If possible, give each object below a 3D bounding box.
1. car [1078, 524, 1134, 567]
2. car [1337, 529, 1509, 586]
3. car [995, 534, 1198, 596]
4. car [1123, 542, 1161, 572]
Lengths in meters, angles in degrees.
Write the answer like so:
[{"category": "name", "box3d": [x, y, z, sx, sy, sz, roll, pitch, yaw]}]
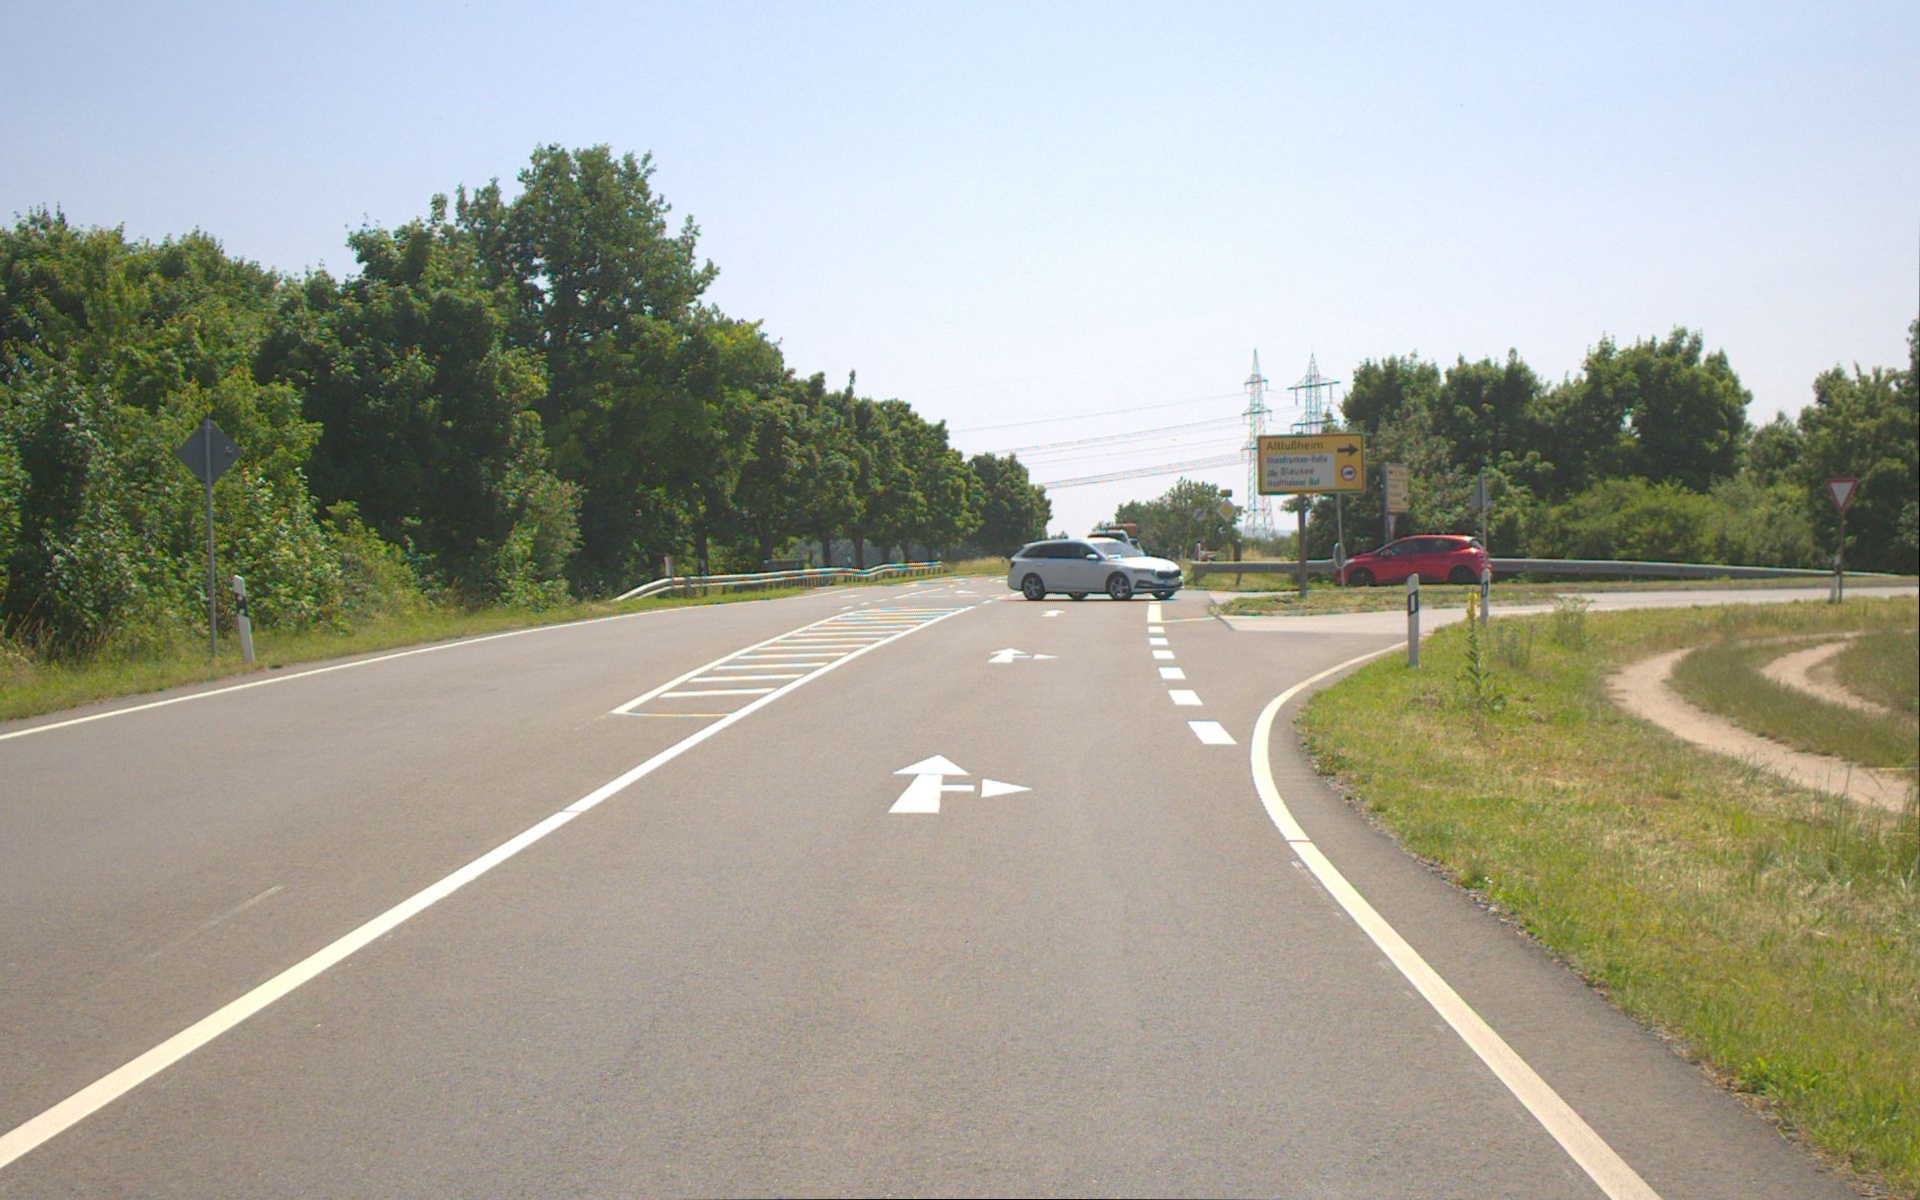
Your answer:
[{"category": "car", "box3d": [5.167, -1.925, 121.938, 1.885, 1.513, 4.039, 1, 1, 2]}, {"category": "car", "box3d": [11.957, -1.092, 88.760, 4.156, 1.414, 1.778, 0, 0, 17]}, {"category": "car", "box3d": [3.206, -0.841, 81.430, 4.711, 1.414, 1.837, 1, 1, 41]}, {"category": "car", "box3d": [8.359, -1.963, 158.134, 1.644, 1.336, 4.039, 1, 1, 2]}]
